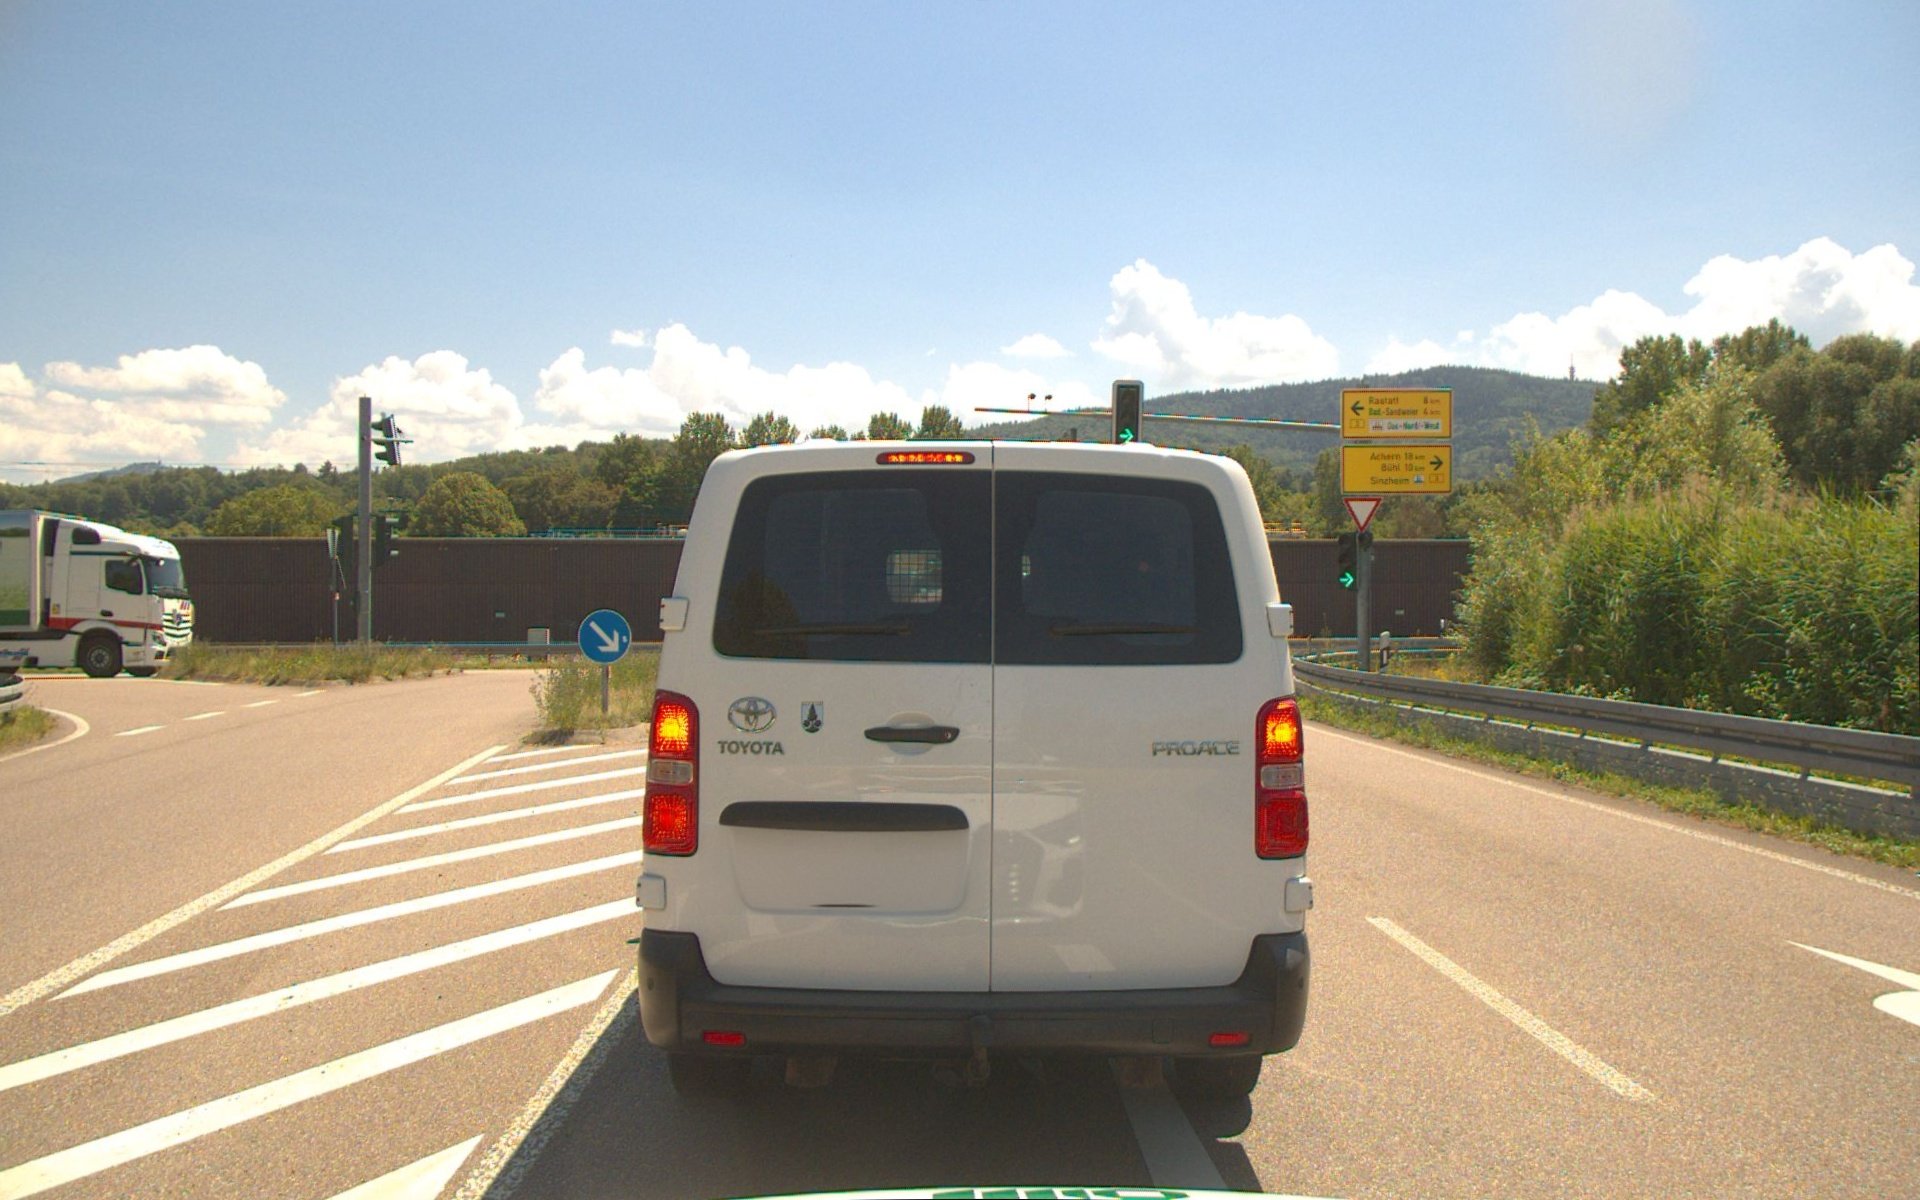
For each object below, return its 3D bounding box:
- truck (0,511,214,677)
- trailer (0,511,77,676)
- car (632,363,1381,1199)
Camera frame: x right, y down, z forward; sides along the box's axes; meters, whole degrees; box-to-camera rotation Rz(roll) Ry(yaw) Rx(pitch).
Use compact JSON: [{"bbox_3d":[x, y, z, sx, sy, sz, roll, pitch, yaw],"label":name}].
[{"bbox_3d":[-22.382,-0.136,41.797,5.649,4.024,3.061,0,-1,-3],"label":"truck"},{"bbox_3d":[-29.511,-0.172,41.459,12.877,4.024,3.060,0,-1,-3],"label":"trailer"},{"bbox_3d":[0.085,0.477,5.937,1.778,2.053,3.999,0,0,-1],"label":"car"}]
